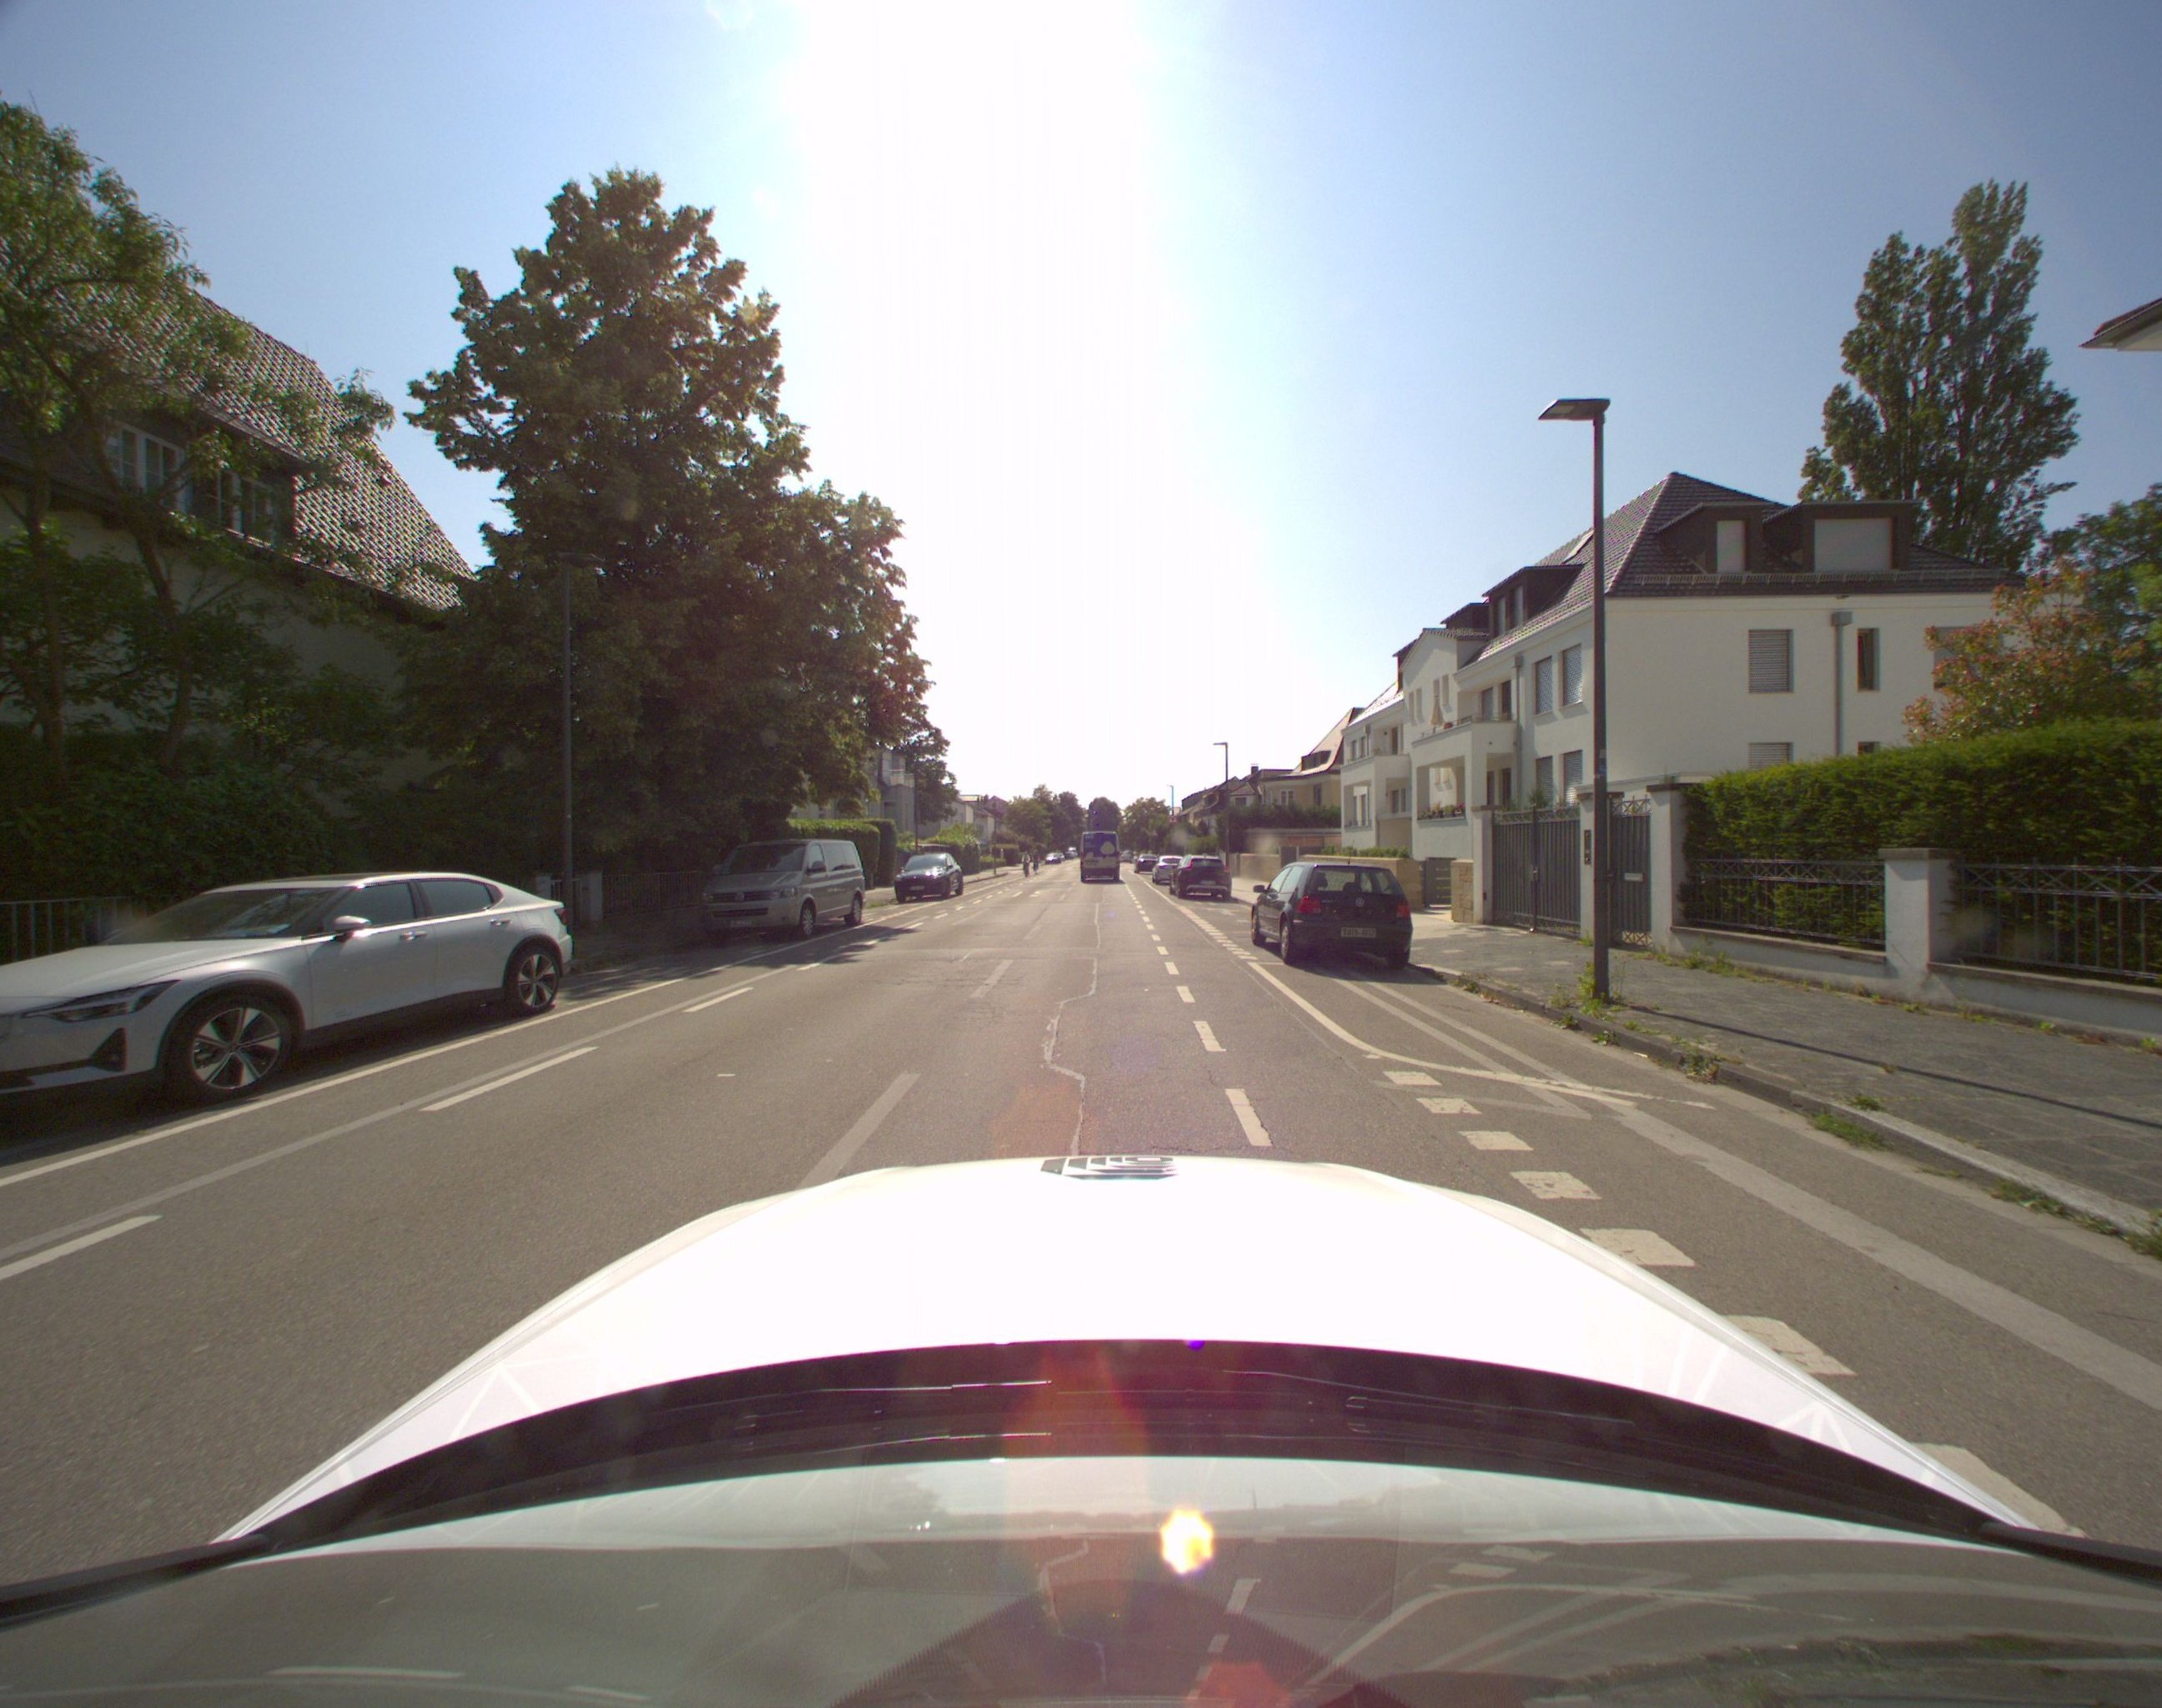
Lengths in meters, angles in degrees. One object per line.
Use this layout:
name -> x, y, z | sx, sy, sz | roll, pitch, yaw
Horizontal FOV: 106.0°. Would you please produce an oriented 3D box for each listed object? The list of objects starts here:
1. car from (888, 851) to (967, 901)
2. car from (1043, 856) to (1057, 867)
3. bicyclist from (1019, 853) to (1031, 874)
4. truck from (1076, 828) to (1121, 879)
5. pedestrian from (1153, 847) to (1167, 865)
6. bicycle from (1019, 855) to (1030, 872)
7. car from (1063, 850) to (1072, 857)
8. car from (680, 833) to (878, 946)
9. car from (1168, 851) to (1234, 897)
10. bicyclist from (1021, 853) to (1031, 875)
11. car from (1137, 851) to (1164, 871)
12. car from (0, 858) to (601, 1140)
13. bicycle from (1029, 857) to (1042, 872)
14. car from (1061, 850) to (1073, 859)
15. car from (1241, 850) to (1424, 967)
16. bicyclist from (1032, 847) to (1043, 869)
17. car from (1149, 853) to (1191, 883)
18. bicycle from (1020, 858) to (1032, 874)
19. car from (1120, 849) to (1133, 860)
car -> -5.542, 0.746, 29.953 | 1.844, 1.611, 4.450 | -3, 0, 2
car -> -4.199, 1.009, 111.539 | 1.780, 1.440, 4.152 | -2, 0, -2
bicyclist -> -4.177, 0.698, 60.867 | 0.673, 1.580, 0.860 | -3, 0, 2
truck -> 0.883, -0.034, 43.532 | 2.265, 2.571, 4.392 | 0, 0, 0
pedestrian -> 8.089, 0.179, 83.240 | 0.905, 1.872, 1.177 | 0, 0, -32
bicycle -> -4.198, 0.718, 60.836 | 0.557, 1.185, 2.037 | -3, 0, 2
car -> -2.747, -0.051, 169.250 | 1.775, 1.460, 4.086 | -1, 0, 0
car -> -5.940, 0.620, 16.792 | 1.876, 1.919, 4.874 | -2, 0, 4
car -> 4.115, 0.658, 28.568 | 1.716, 1.449, 4.169 | 2, 0, 1
bicyclist -> -3.772, 0.674, 55.949 | 0.488, 1.454, 0.965 | -3, 0, 2
car -> 5.042, 0.483, 59.508 | 1.730, 1.329, 4.261 | -1, 0, 1
car -> -6.383, 0.851, 6.815 | 1.826, 1.485, 4.564 | -3, 0, 2
bicycle -> -3.586, 0.805, 64.920 | 0.779, 1.166, 2.421 | -3, 0, 2
car -> -2.289, 0.108, 135.006 | 1.779, 1.440, 4.000 | -1, 0, 1
car -> 3.661, 0.717, 12.587 | 1.613, 1.449, 4.001 | 2, 0, 1
bicyclist -> -3.446, 0.326, 64.662 | 0.746, 1.667, 1.022 | -3, 0, 2
car -> 4.372, 0.704, 40.302 | 1.730, 1.329, 4.078 | 3, -1, 2
bicycle -> -3.773, 0.822, 55.906 | 0.598, 1.105, 1.347 | -3, 0, 2
car -> 6.384, 0.057, 114.756 | 1.734, 1.402, 4.074 | 0, 2, 0
